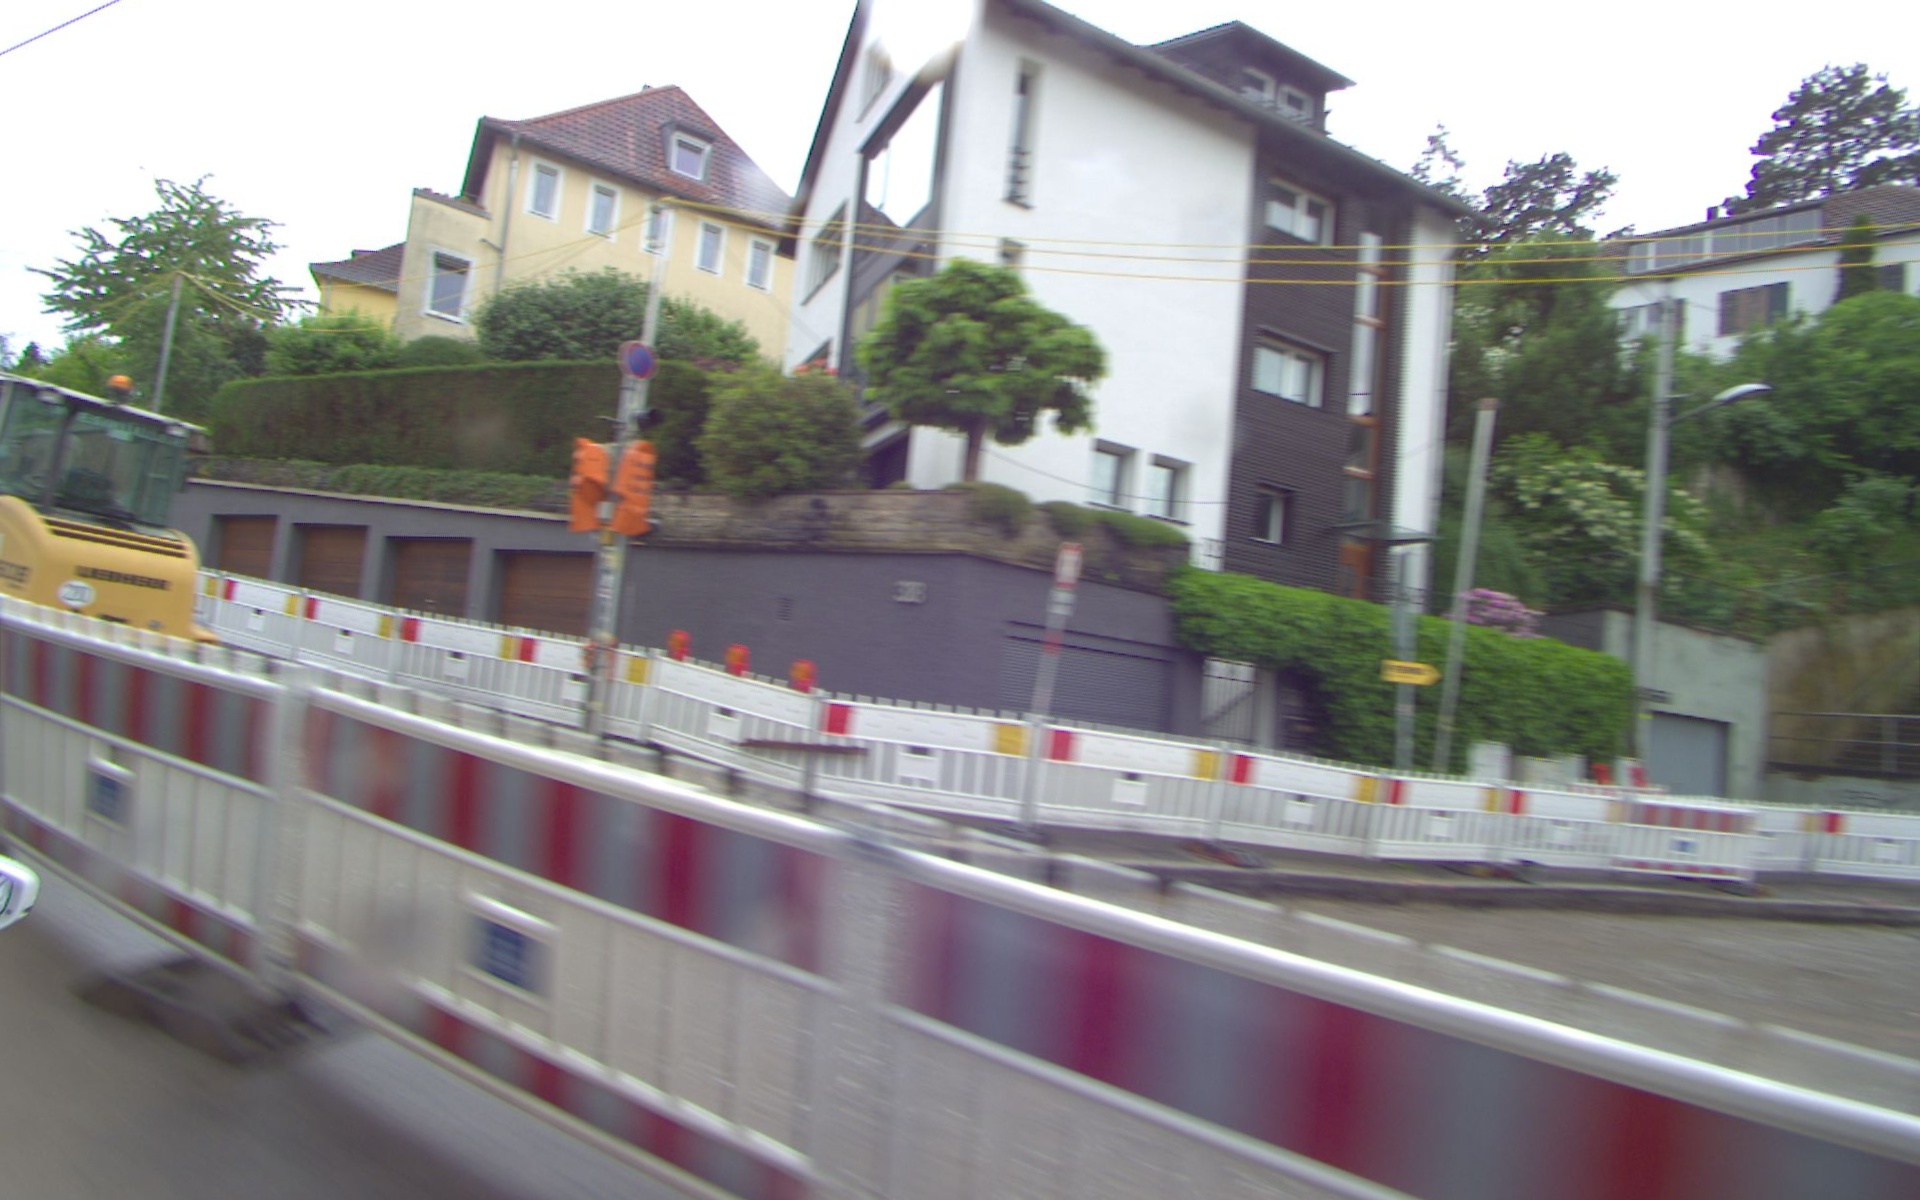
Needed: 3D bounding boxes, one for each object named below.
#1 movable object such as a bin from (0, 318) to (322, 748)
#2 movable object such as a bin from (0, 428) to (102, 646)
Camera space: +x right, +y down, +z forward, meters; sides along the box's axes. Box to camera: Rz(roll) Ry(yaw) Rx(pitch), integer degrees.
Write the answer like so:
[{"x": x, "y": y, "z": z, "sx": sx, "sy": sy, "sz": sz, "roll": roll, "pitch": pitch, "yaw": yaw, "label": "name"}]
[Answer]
[{"x": -8.488, "y": -0.524, "z": 8.919, "sx": 5.580, "sy": 2.869, "sz": 2.093, "roll": 5, "pitch": -4, "yaw": 29, "label": "movable object such as a bin"}, {"x": -15.487, "y": -1.221, "z": 14.924, "sx": 5.579, "sy": 2.869, "sz": 2.093, "roll": 8, "pitch": -2, "yaw": 29, "label": "movable object such as a bin"}]
